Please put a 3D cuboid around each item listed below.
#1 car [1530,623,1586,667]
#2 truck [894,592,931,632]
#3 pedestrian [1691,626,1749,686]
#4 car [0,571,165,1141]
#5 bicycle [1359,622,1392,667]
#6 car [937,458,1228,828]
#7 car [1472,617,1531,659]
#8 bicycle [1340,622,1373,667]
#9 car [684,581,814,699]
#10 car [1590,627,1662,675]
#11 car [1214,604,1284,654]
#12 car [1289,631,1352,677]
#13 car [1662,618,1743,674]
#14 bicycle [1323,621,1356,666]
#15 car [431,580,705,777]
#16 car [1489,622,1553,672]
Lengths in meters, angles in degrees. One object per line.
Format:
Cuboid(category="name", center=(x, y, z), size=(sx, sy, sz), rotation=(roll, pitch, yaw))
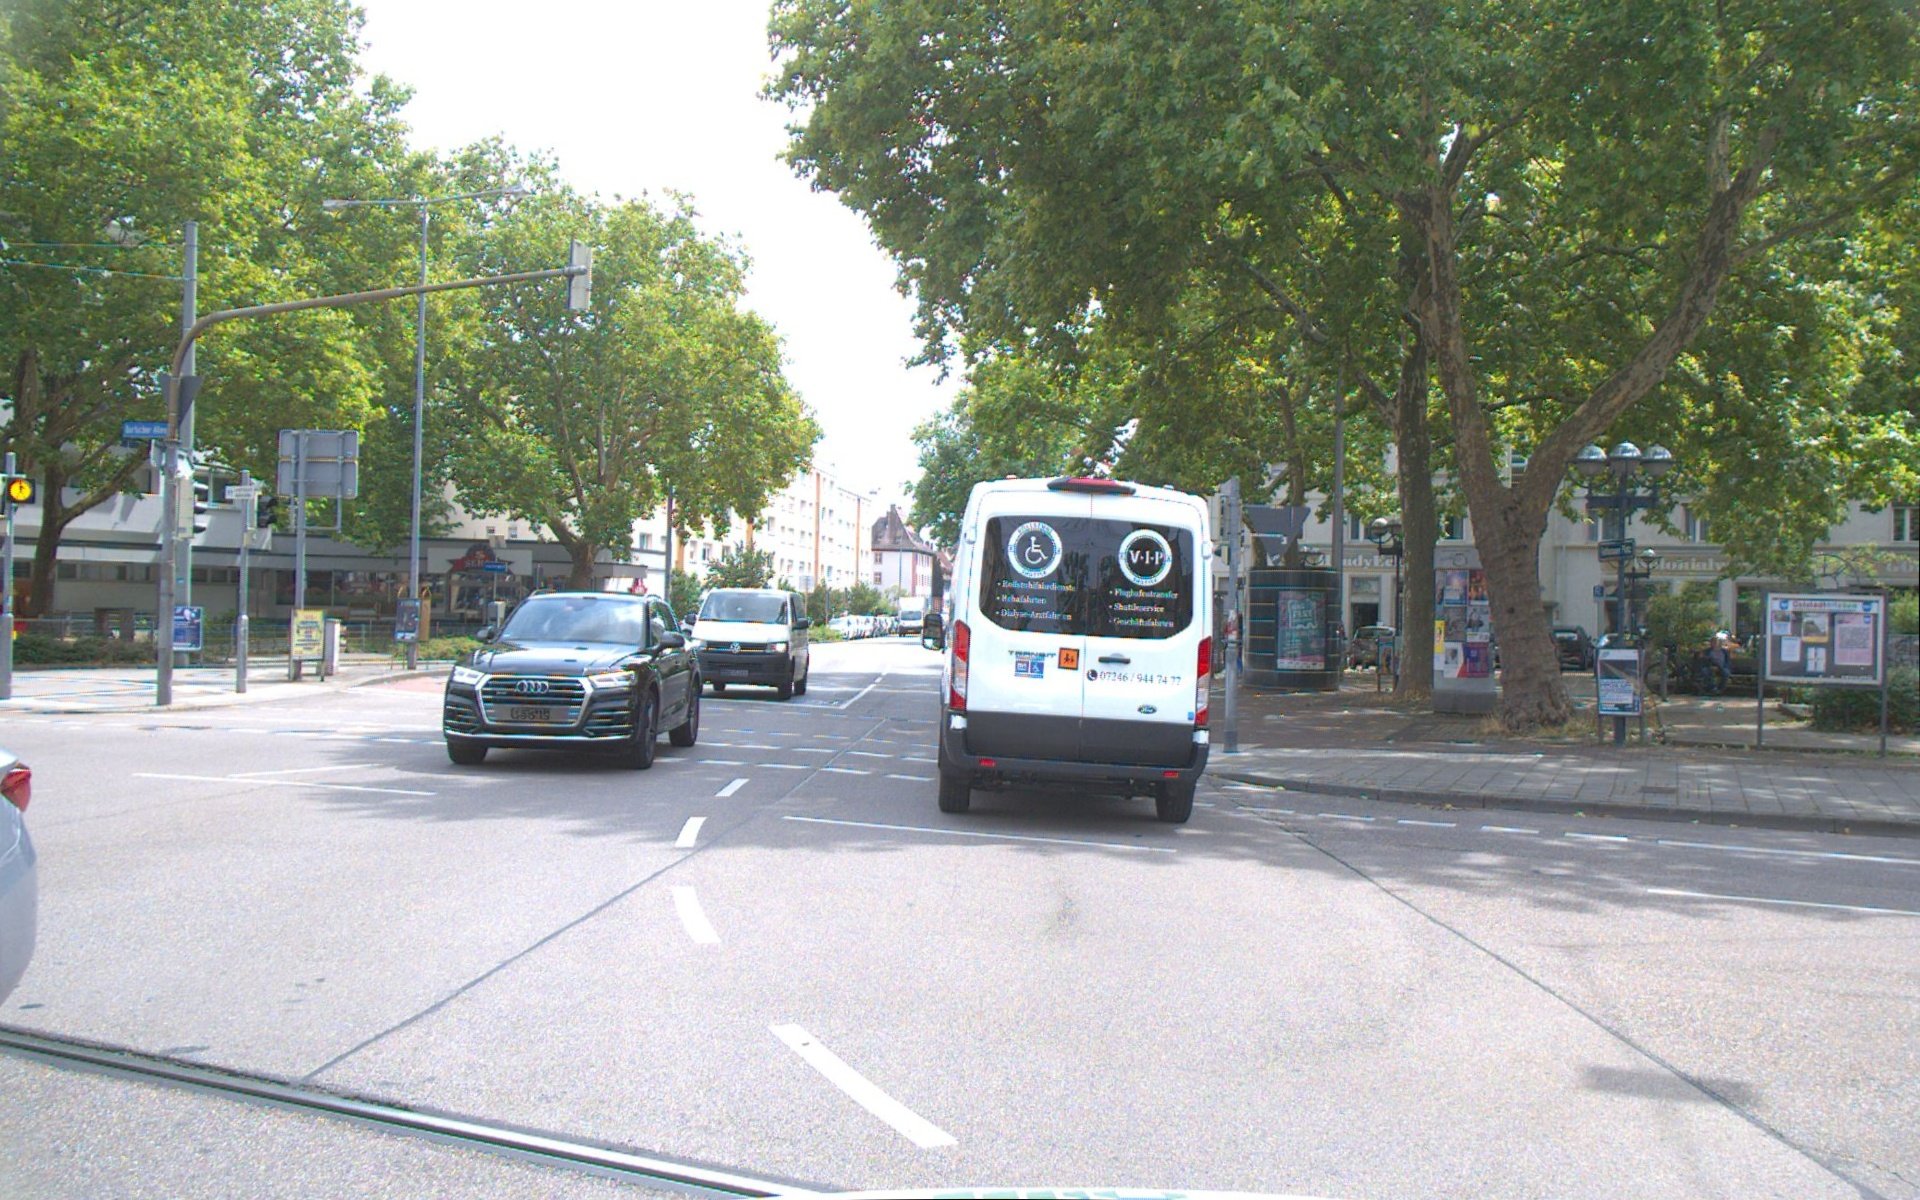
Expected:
Cuboid(category="car", center=(23.333, 1.737, 64.438), size=(1.952, 1.619, 4.195), rotation=(1, -1, 21))
Cuboid(category="truck", center=(-3.834, 1.004, 134.838), size=(2.488, 3.162, 7.022), rotation=(-1, -1, 3))
Cuboid(category="pedestrian", center=(15.969, 1.169, 34.777), size=(1.073, 1.234, 1.140), rotation=(0, -1, 23))
Cuboid(category="car", center=(-3.361, 0.688, 3.078), size=(1.728, 1.550, 4.843), rotation=(1, 0, -4))
Cuboid(category="bicycle", center=(13.344, 1.422, 53.098), size=(0.411, 1.402, 2.307), rotation=(0, 0, 30))
Cuboid(category="car", center=(0.913, 0.361, 14.013), size=(2.027, 2.585, 4.634), rotation=(1, -2, 1))
Cuboid(category="car", center=(21.023, 1.448, 64.104), size=(1.952, 1.514, 4.195), rotation=(1, -1, 21))
Cuboid(category="bicycle", center=(12.803, 1.421, 53.382), size=(0.411, 1.402, 2.307), rotation=(0, 0, 30))
Cuboid(category="car", center=(-3.833, 0.682, 30.841), size=(1.885, 1.970, 4.945), rotation=(2, 0, -2))
Cuboid(category="car", center=(22.074, 1.662, 54.942), size=(1.952, 1.490, 4.001), rotation=(0, -1, 19))
Cuboid(category="car", center=(10.528, 1.053, 60.007), size=(1.892, 1.736, 4.332), rotation=(0, -1, 18))
Cuboid(category="car", center=(13.009, 1.921, 59.607), size=(1.789, 1.579, 4.001), rotation=(0, -1, 19))
Cuboid(category="car", center=(24.093, 1.467, 53.823), size=(1.952, 1.724, 4.561), rotation=(0, -1, 19))
Cuboid(category="bicycle", center=(12.360, 1.410, 53.826), size=(0.411, 1.402, 2.306), rotation=(0, -1, 30))
Cuboid(category="car", center=(-3.765, 0.692, 16.684), size=(1.785, 1.676, 4.426), rotation=(2, 0, -2))
Cuboid(category="car", center=(18.968, 1.563, 55.962), size=(1.952, 1.627, 4.001), rotation=(0, -1, 19))
